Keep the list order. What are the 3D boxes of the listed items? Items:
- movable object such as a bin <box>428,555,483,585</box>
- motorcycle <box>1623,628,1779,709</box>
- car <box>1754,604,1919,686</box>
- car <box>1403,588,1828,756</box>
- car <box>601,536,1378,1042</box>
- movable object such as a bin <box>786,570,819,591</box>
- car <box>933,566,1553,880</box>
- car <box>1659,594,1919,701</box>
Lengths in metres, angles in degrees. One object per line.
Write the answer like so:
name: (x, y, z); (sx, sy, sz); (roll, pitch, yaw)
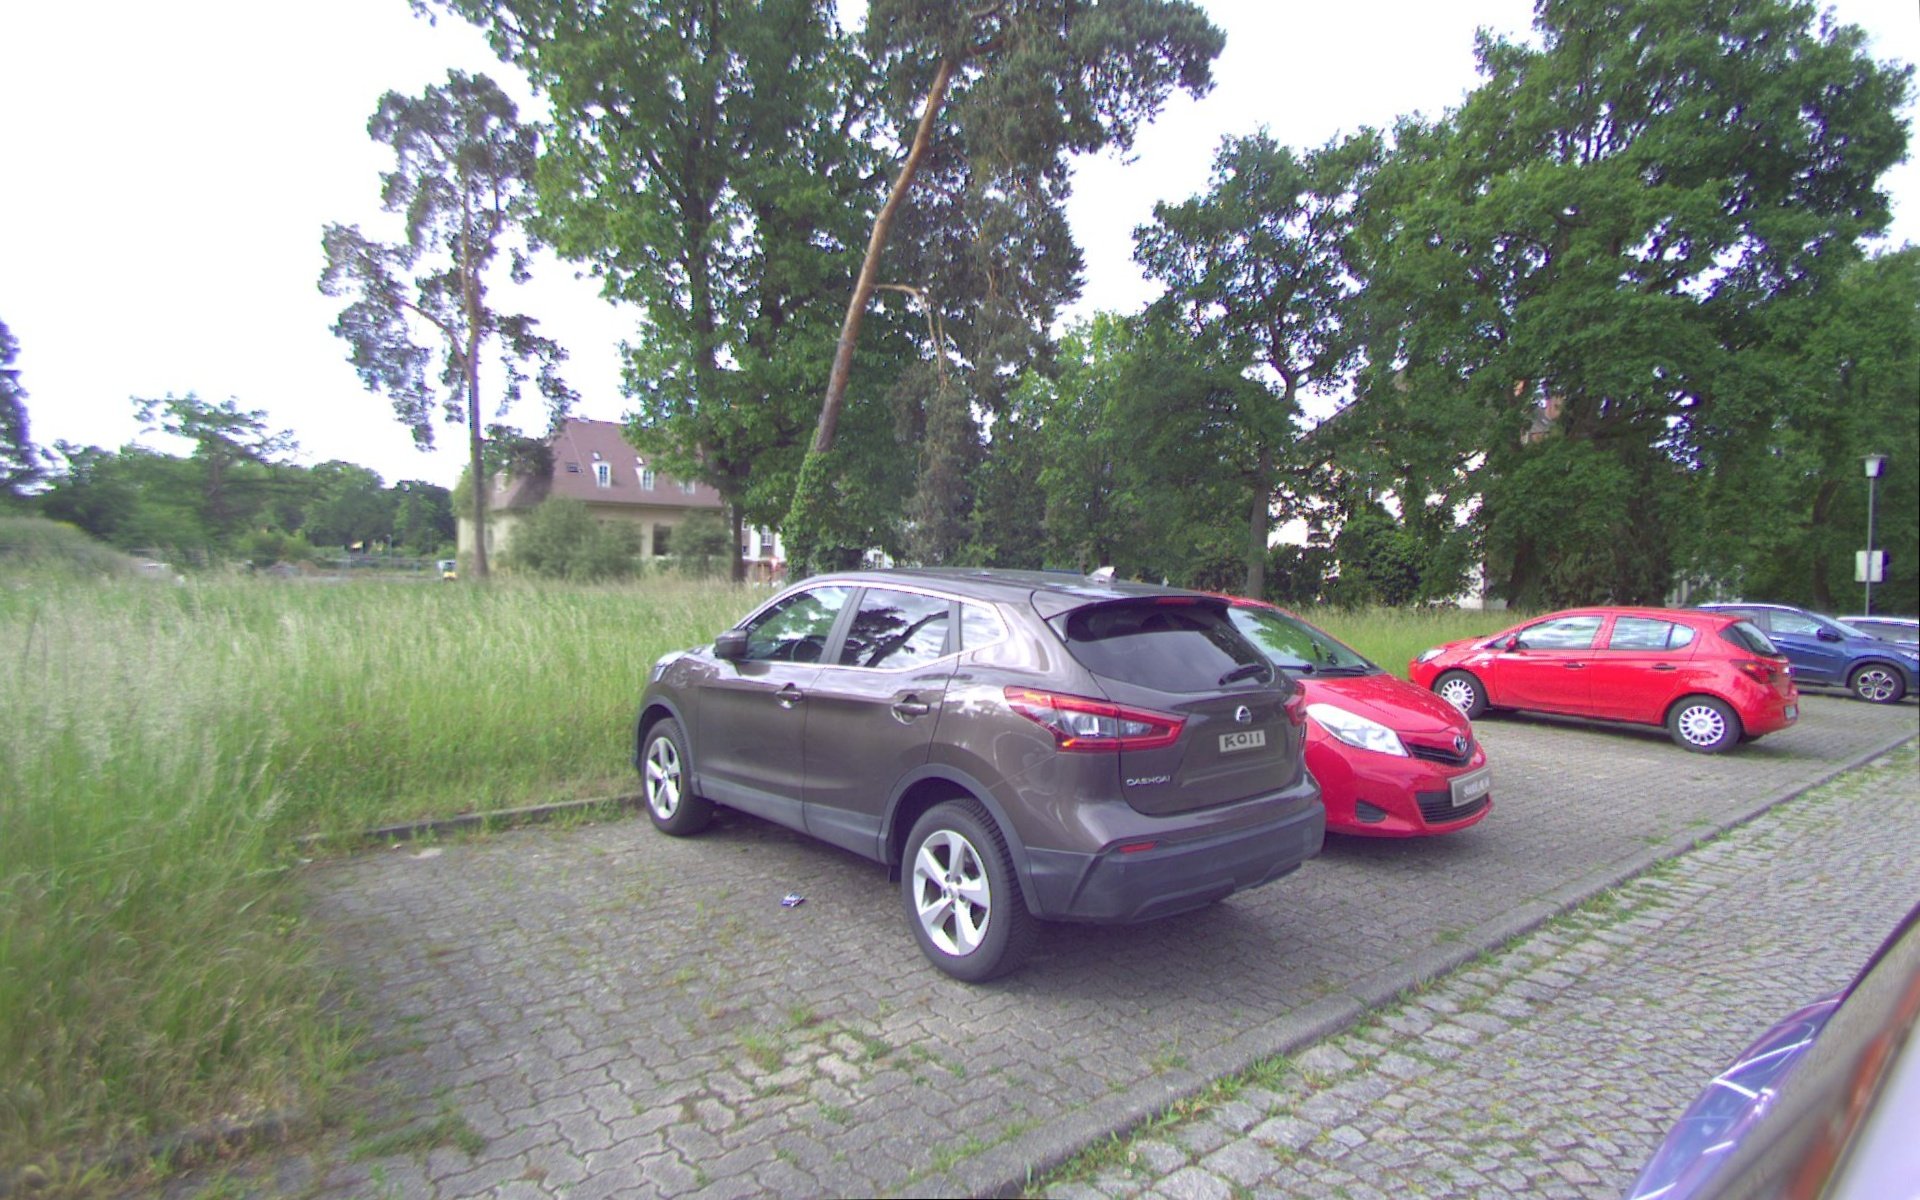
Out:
movable object such as a bin: (-36.064, -2.109, 72.449); (1.662, 2.039, 3.219); (2, 1, 23)
motorcycle: (10.802, 0.967, 14.797); (0.604, 0.969, 1.742); (1, 2, -45)
car: (19.058, 0.933, 20.942); (1.554, 1.443, 3.877); (1, 2, -40)
car: (7.523, 0.697, 11.939); (1.554, 1.478, 3.893); (1, 2, -40)
car: (-0.248, 0.524, 5.501); (1.790, 1.618, 4.270); (1, 2, -40)
movable object such as a bin: (-16.097, -1.988, 103.503); (2.931, 2.039, 1.553); (1, 1, -39)
car: (1.728, 0.592, 7.316); (1.734, 1.504, 4.017); (1, 2, -39)
car: (15.332, 0.790, 18.276); (1.554, 1.557, 4.149); (1, 2, -40)
